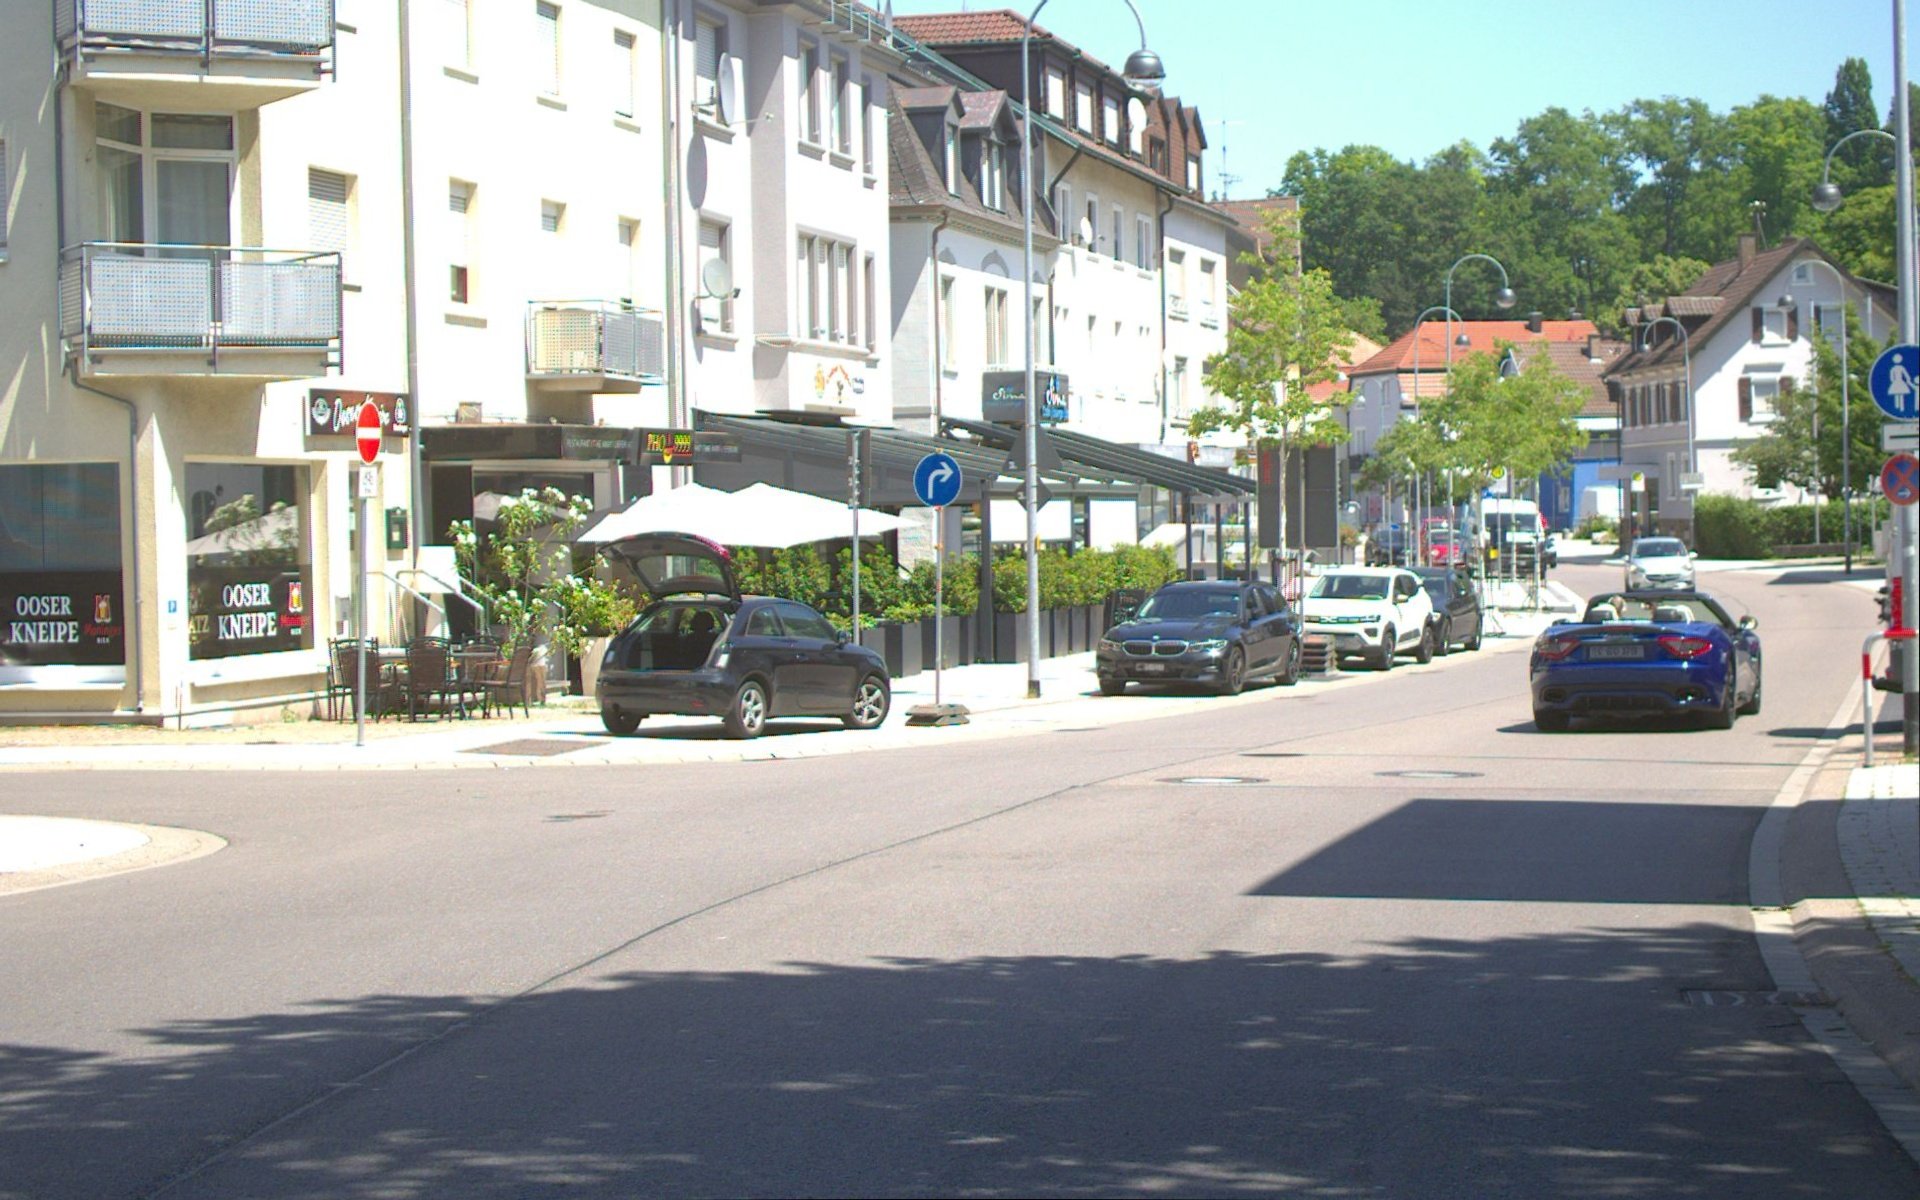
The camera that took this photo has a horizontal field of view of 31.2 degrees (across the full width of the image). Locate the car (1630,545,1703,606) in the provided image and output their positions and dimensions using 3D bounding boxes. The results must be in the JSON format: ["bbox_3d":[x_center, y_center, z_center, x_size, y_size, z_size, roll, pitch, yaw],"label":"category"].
[{"bbox_3d":[18.379,-0.659,89.331,1.688,1.453,4.056,-3,1,13],"label":"car"}]

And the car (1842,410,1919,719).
[{"bbox_3d":[11.019,-0.362,30.718,5.944,2.723,2.194,-1,1,17],"label":"car"}]

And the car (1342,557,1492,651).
[{"bbox_3d":[7.728,0.042,57.865,1.671,1.438,4.006,-1,1,20],"label":"car"}]

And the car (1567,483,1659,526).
[{"bbox_3d":[33.154,-4.831,174.512,4.257,2.007,2.000,0,-1,-27],"label":"car"}]

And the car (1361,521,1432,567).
[{"bbox_3d":[16.430,-2.119,129.516,1.993,1.686,4.001,-1,1,-3],"label":"car"}]

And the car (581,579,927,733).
[{"bbox_3d":[-2.080,0.534,35.911,1.715,1.455,4.123,2,1,27],"label":"car"}]

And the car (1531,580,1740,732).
[{"bbox_3d":[6.823,0.506,34.409,1.872,1.337,4.593,0,1,13],"label":"car"}]

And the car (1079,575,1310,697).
[{"bbox_3d":[3.177,0.438,45.672,1.836,1.424,4.778,1,2,20],"label":"car"}]

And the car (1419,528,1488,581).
[{"bbox_3d":[16.797,-1.554,117.119,1.994,1.732,4.000,-1,1,4],"label":"car"}]

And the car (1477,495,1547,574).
[{"bbox_3d":[17.289,-2.069,107.843,1.867,2.392,4.817,-1,1,6],"label":"car"}]

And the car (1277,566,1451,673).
[{"bbox_3d":[6.229,0.269,52.678,1.647,1.474,3.936,1,2,22],"label":"car"}]
